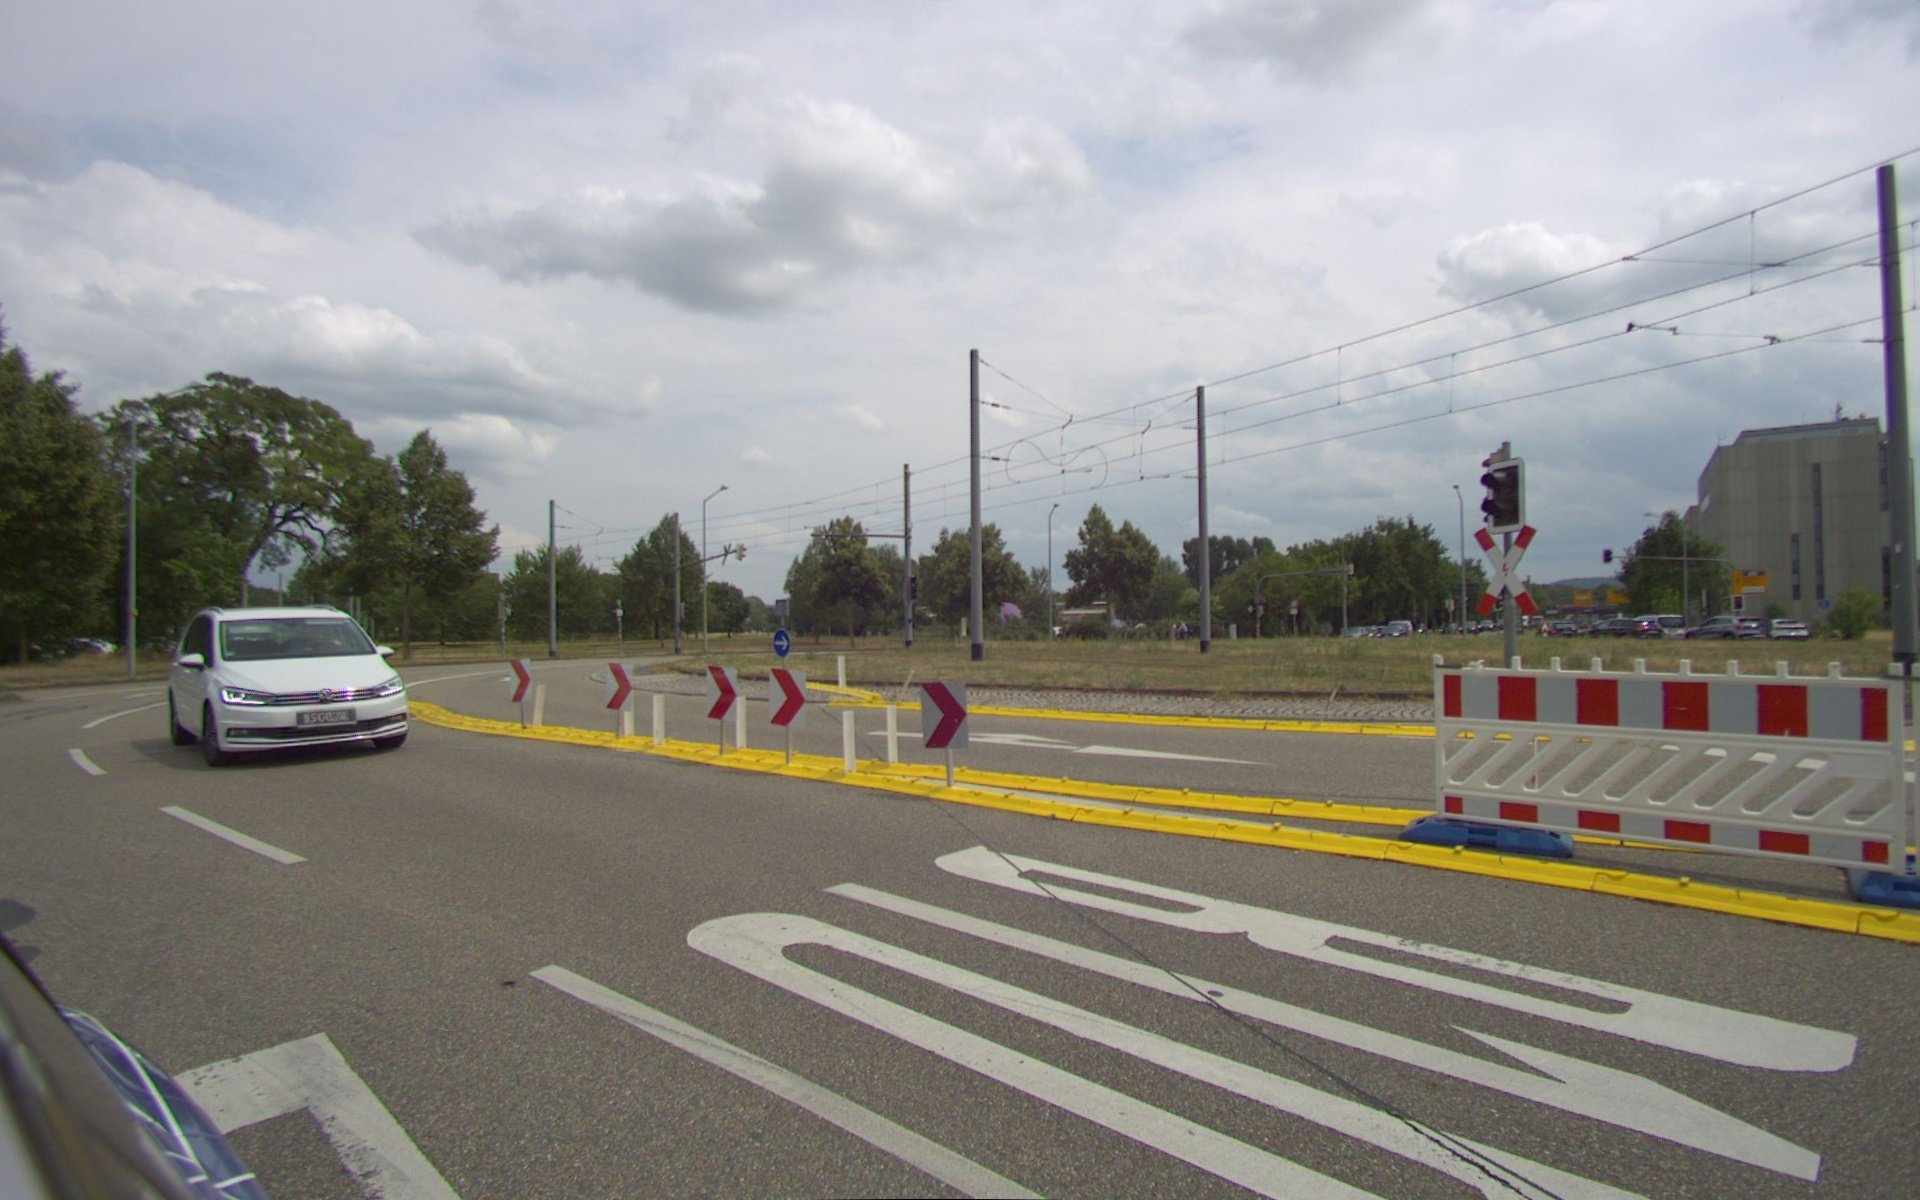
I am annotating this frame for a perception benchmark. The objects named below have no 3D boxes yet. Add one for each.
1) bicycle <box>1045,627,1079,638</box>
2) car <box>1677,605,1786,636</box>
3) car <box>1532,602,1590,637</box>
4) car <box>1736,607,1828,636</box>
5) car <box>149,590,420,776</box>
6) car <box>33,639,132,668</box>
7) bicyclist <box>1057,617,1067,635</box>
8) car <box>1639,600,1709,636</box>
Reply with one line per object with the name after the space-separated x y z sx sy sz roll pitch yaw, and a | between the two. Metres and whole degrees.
8.319 2.655 82.600 2.635 0.861 0.859 -2 -2 16 | bicycle
39.098 1.057 51.399 1.801 1.475 4.012 0 -2 -20 | car
35.729 1.146 60.233 1.982 2.029 3.979 0 -1 16 | car
44.211 1.135 54.537 1.809 1.475 3.996 0 -1 3 | car
-7.884 0.810 11.617 1.909 1.678 4.360 -2 0 -43 | car
-68.161 4.157 78.728 5.474 2.072 2.208 0 -2 -27 | car
8.334 2.128 82.595 0.668 1.420 0.860 -2 -2 16 | bicyclist
41.507 1.056 58.942 1.982 2.029 4.339 1 -1 16 | car
